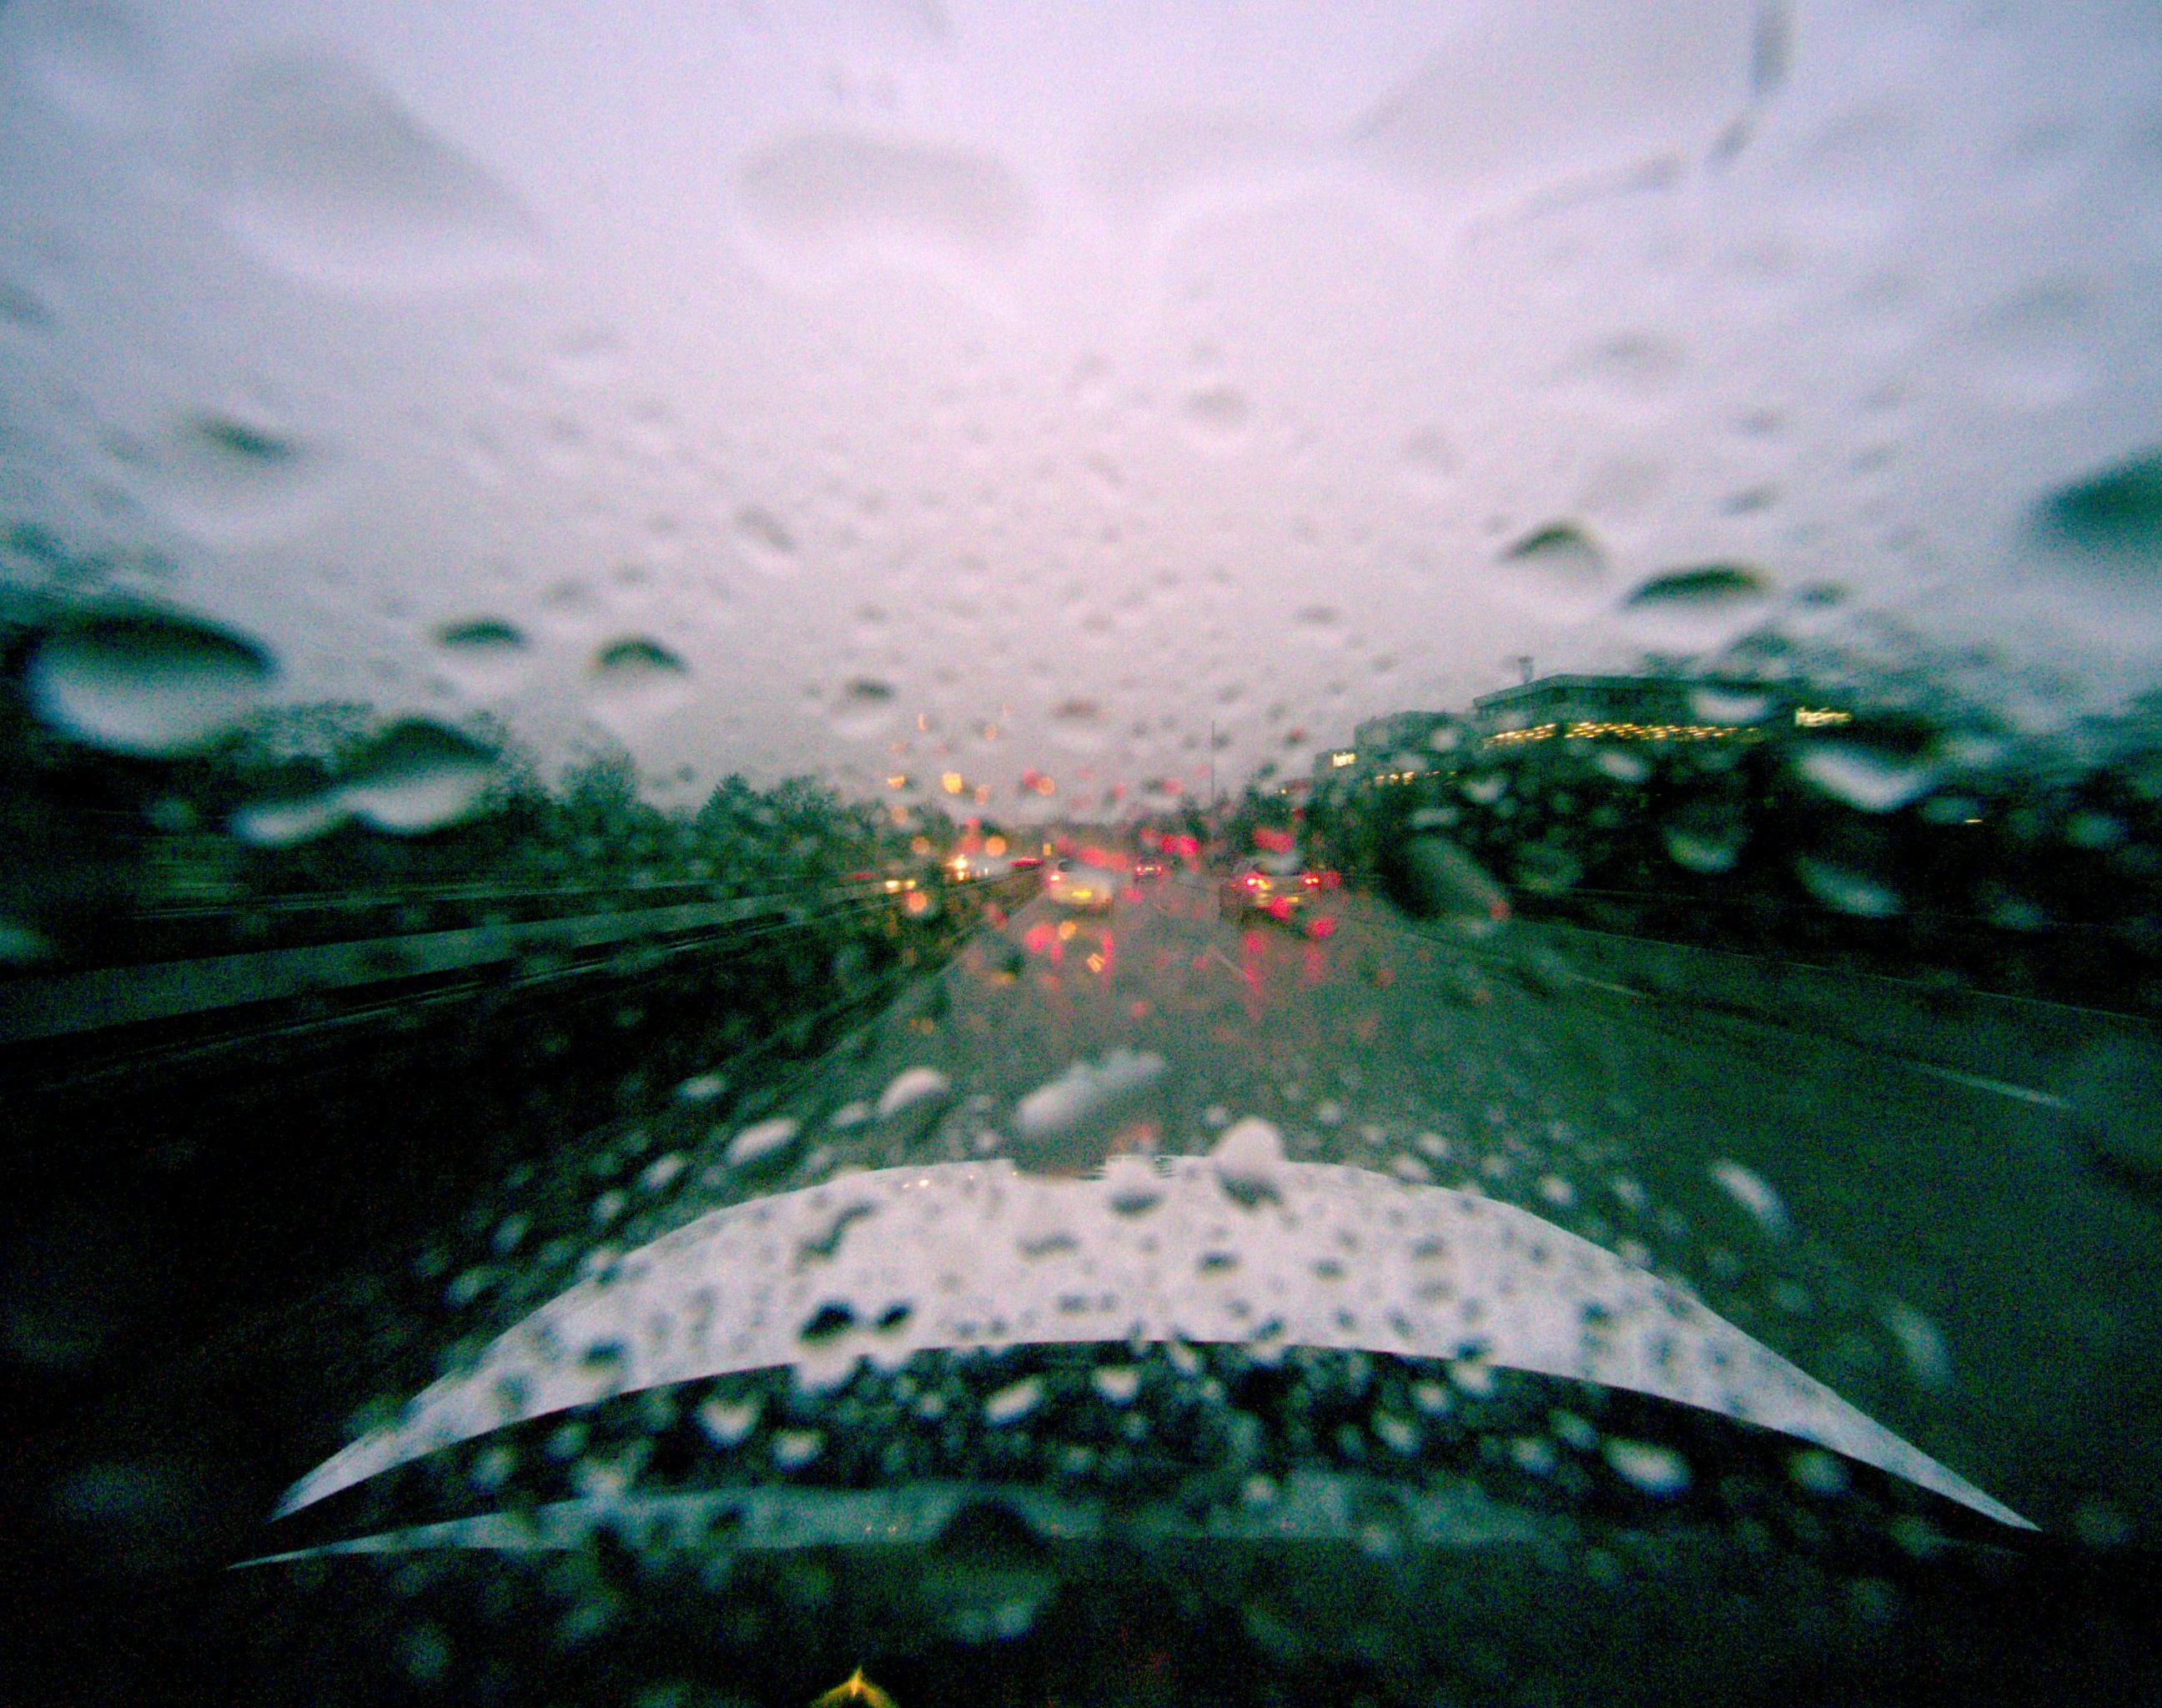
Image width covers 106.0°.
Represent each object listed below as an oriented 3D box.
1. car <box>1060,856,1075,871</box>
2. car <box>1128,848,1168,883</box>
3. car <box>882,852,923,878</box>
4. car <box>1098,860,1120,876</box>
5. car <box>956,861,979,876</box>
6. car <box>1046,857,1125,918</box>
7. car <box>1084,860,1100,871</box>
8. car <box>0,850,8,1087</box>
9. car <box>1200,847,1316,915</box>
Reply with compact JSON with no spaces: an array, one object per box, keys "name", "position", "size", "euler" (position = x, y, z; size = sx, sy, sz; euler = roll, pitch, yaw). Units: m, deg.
[{"name":"car","position":[-1.937,1.384,118.805],"size":[1.987,2.014,4.000],"euler":[-1,-1,1]},{"name":"car","position":[3.987,0.661,48.999],"size":[1.927,2.019,3.771],"euler":[-1,-1,-2]},{"name":"car","position":[-11.664,0.731,53.362],"size":[1.721,1.607,4.178],"euler":[-1,-1,0]},{"name":"car","position":[3.012,1.513,87.775],"size":[1.928,1.546,3.769],"euler":[-7,-1,-3]},{"name":"car","position":[-12.407,1.538,89.227],"size":[1.861,1.627,4.776],"euler":[-1,-1,-2]},{"name":"car","position":[0.035,0.905,23.435],"size":[2.020,1.575,3.995],"euler":[-1,-1,-3]},{"name":"car","position":[1.515,1.544,111.284],"size":[1.927,1.546,3.770],"euler":[-1,-1,-2]},{"name":"car","position":[-7.783,0.709,2.819],"size":[1.857,1.482,4.673],"euler":[-1,-1,2]},{"name":"car","position":[4.266,0.623,20.319],"size":[1.844,1.502,4.259],"euler":[-1,-1,-2]}]
